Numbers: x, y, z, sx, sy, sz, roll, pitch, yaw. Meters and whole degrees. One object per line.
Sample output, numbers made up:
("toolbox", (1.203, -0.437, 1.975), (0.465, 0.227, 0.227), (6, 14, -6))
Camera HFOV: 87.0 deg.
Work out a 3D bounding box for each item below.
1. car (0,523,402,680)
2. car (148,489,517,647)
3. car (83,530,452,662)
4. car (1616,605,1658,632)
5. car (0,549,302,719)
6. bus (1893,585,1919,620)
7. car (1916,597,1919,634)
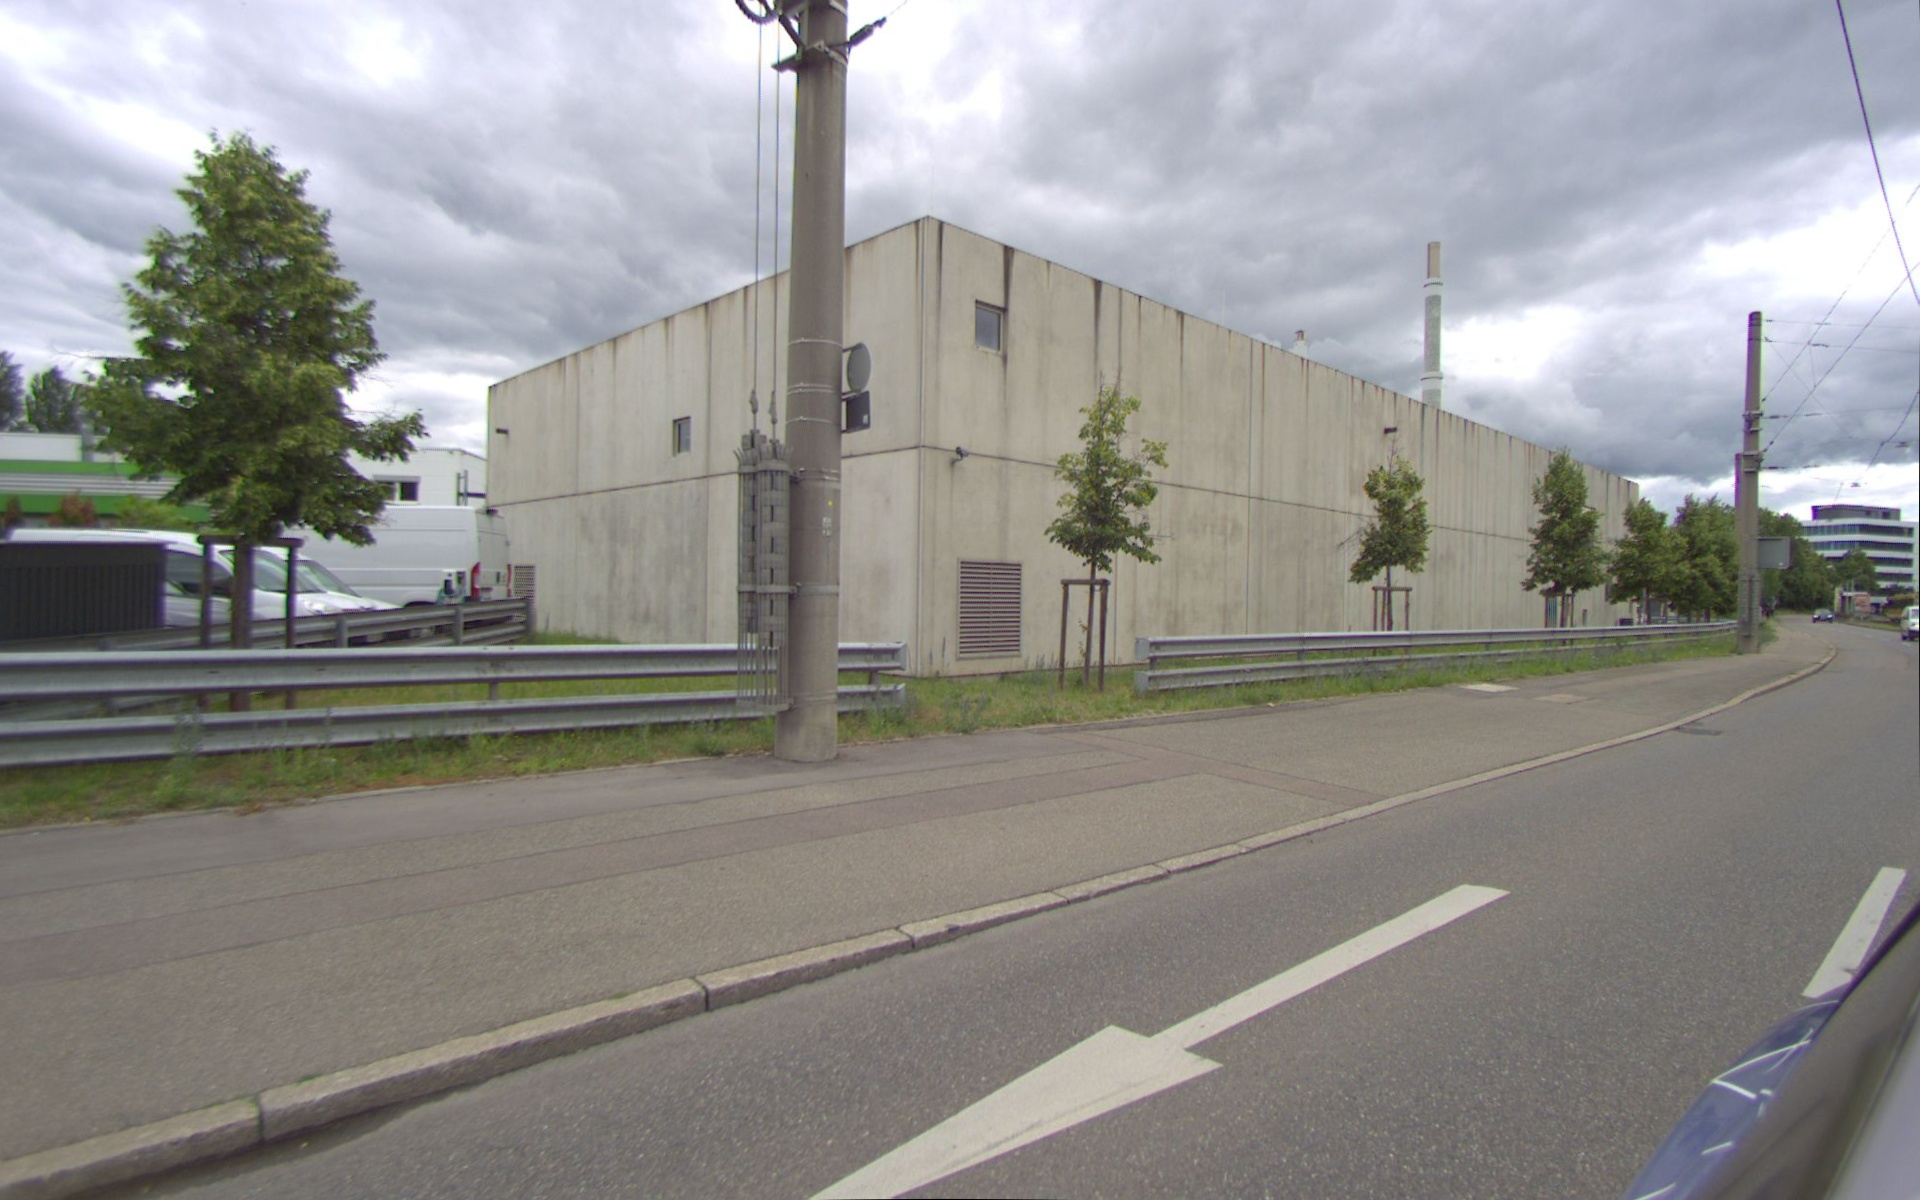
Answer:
("car", (-10.062, 0.020, 13.246), (4.448, 1.855, 1.864), (1, 0, -9))
("car", (-11.204, -0.541, 18.486), (5.313, 2.622, 2.099), (1, 0, -8))
("car", (-10.539, -0.045, 15.723), (4.349, 1.855, 1.821), (1, 0, -9))
("car", (41.659, 1.131, 62.224), (1.746, 1.594, 4.366), (-1, -2, 39))
("car", (-9.750, 0.255, 10.530), (4.436, 1.567, 2.161), (1, 2, 1))
("bus", (112.921, 0.260, 117.736), (3.526, 4.002, 10.398), (-1, 0, 26))
("car", (50.836, 0.808, 52.207), (1.992, 1.917, 4.557), (1, 0, 41))
